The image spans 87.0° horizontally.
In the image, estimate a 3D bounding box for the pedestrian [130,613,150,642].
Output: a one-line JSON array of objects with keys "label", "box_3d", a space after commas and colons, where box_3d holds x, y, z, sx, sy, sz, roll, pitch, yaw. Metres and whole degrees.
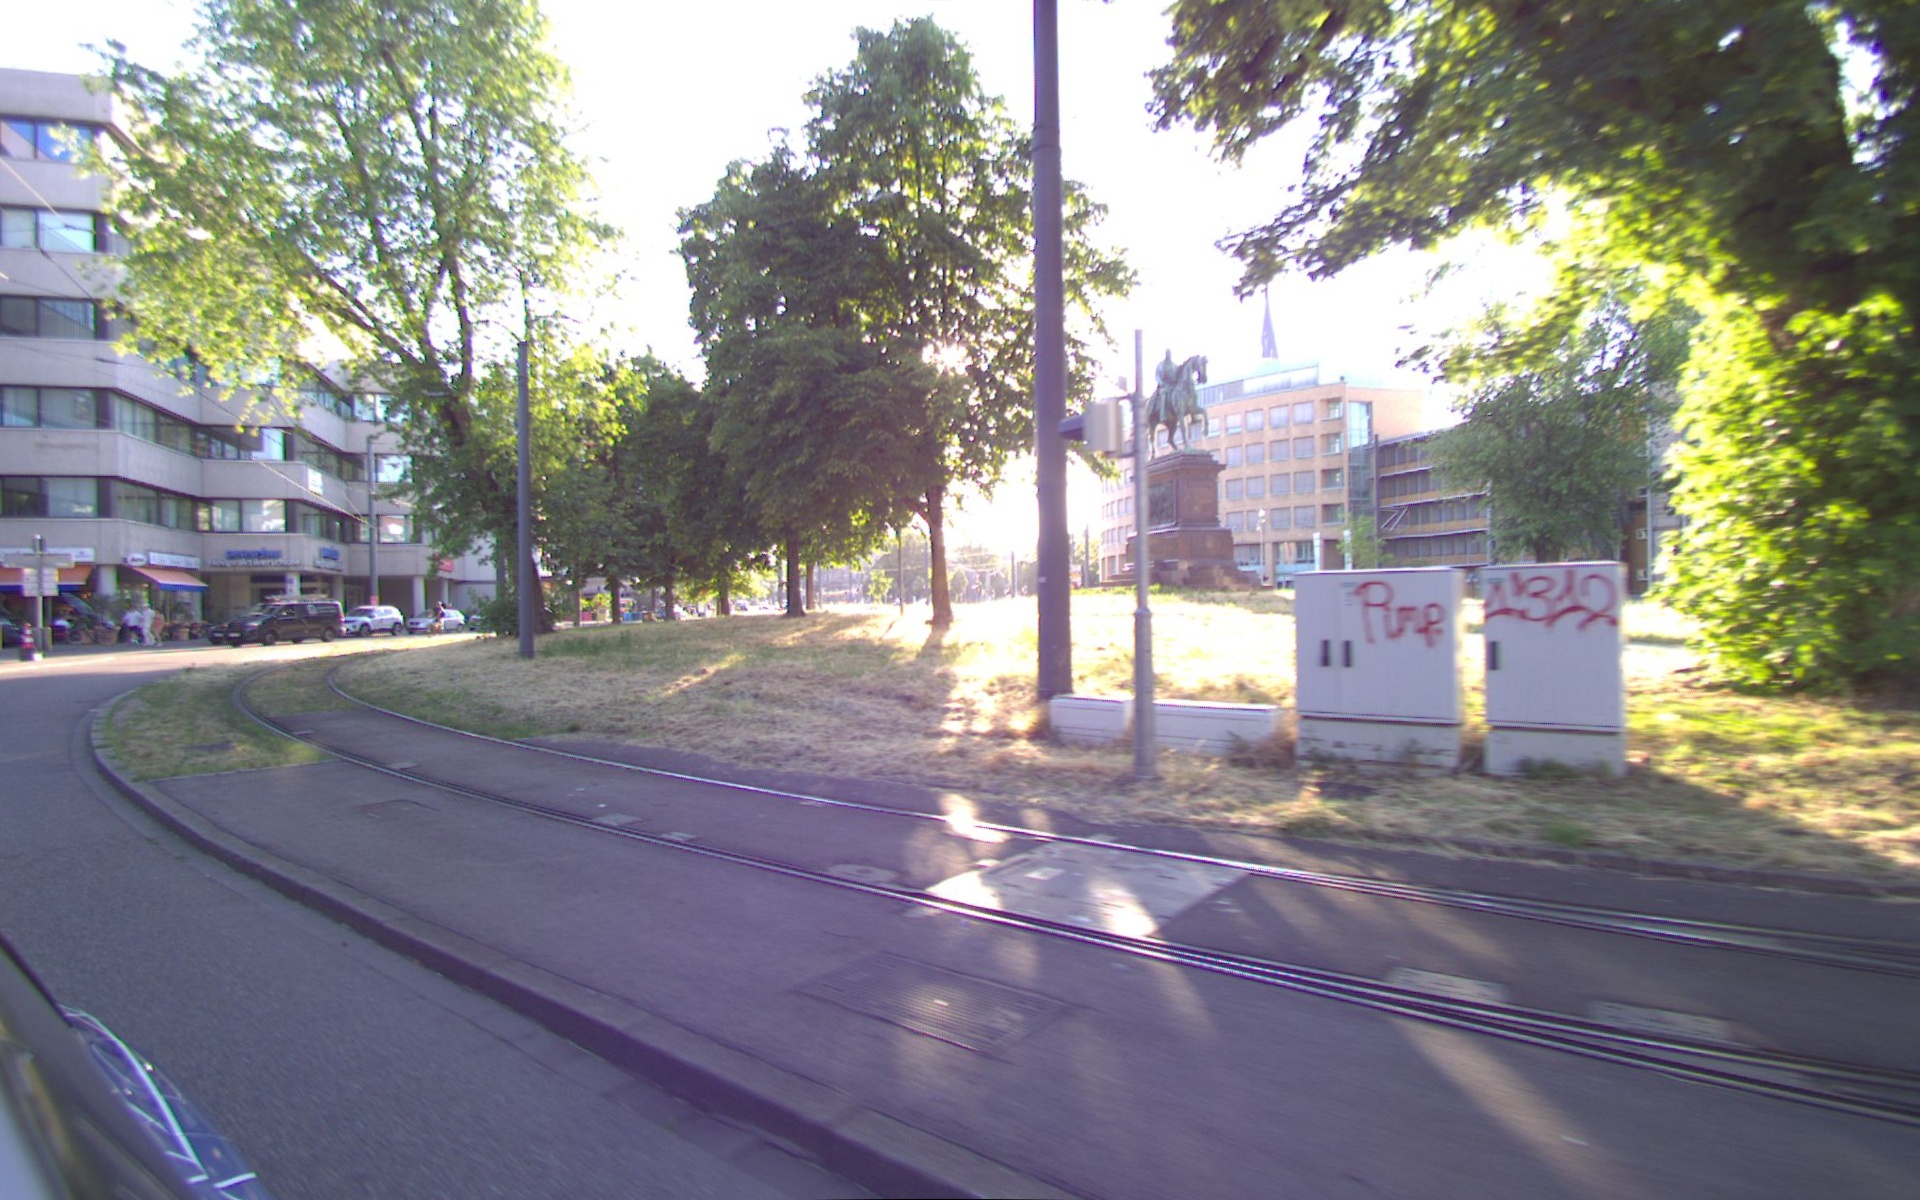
[{"label": "pedestrian", "box_3d": [-38.633, 1.300, 47.665, 0.601, 1.331, 0.561, -1, 0, -25]}]

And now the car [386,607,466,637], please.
[{"label": "car", "box_3d": [-32.341, 1.301, 61.439, 1.978, 1.617, 4.509, -2, 0, 10]}]

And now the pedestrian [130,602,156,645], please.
[{"label": "pedestrian", "box_3d": [-36.269, 1.042, 44.927, 0.565, 1.852, 0.604, 3, -2, -4]}]

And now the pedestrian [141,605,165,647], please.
[{"label": "pedestrian", "box_3d": [-35.649, 1.146, 44.700, 0.525, 1.852, 0.500, 3, -2, -6]}]

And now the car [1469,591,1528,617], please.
[{"label": "car", "box_3d": [38.971, 0.260, 73.326, 1.971, 1.807, 4.002, -2, 0, -2]}]

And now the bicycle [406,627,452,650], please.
[{"label": "bicycle", "box_3d": [-27.339, 1.981, 52.116, 0.926, 1.084, 2.214, -2, 0, 10]}]

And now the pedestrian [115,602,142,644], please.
[{"label": "pedestrian", "box_3d": [-36.948, 1.018, 44.983, 0.611, 1.852, 0.537, 3, -2, -3]}]

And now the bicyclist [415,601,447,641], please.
[{"label": "bicyclist", "box_3d": [-27.337, 1.080, 52.290, 0.914, 1.989, 1.110, -2, 0, 10]}]

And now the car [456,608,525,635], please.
[{"label": "car", "box_3d": [-31.576, 1.451, 68.196, 1.978, 1.617, 4.509, -2, 0, 10]}]

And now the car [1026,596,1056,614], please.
[{"label": "car", "box_3d": [9.582, 0.557, 119.856, 1.966, 2.029, 4.013, -2, 0, -19]}]

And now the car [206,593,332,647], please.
[{"label": "car", "box_3d": [-30.515, 0.835, 44.868, 1.978, 2.172, 4.509, -2, 0, 10]}]

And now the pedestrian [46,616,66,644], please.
[{"label": "pedestrian", "box_3d": [-39.350, 1.294, 44.055, 0.454, 1.203, 0.422, 3, -2, -16]}]

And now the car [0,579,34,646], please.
[{"label": "car", "box_3d": [-41.589, 0.499, 41.143, 5.340, 2.748, 2.188, 0, -1, -19]}]

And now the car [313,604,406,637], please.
[{"label": "car", "box_3d": [-33.133, 1.109, 55.979, 1.978, 1.617, 4.509, -2, 0, 10]}]

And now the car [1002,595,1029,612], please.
[{"label": "car", "box_3d": [7.012, 0.433, 127.863, 1.966, 2.029, 4.013, -2, 0, -19]}]

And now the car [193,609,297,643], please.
[{"label": "car", "box_3d": [-33.899, 1.204, 48.120, 1.775, 1.453, 3.989, -2, 0, 9]}]

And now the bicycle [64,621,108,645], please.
[{"label": "bicycle", "box_3d": [-38.166, 1.419, 44.196, 1.424, 1.000, 0.532, 1, 0, -44]}]
